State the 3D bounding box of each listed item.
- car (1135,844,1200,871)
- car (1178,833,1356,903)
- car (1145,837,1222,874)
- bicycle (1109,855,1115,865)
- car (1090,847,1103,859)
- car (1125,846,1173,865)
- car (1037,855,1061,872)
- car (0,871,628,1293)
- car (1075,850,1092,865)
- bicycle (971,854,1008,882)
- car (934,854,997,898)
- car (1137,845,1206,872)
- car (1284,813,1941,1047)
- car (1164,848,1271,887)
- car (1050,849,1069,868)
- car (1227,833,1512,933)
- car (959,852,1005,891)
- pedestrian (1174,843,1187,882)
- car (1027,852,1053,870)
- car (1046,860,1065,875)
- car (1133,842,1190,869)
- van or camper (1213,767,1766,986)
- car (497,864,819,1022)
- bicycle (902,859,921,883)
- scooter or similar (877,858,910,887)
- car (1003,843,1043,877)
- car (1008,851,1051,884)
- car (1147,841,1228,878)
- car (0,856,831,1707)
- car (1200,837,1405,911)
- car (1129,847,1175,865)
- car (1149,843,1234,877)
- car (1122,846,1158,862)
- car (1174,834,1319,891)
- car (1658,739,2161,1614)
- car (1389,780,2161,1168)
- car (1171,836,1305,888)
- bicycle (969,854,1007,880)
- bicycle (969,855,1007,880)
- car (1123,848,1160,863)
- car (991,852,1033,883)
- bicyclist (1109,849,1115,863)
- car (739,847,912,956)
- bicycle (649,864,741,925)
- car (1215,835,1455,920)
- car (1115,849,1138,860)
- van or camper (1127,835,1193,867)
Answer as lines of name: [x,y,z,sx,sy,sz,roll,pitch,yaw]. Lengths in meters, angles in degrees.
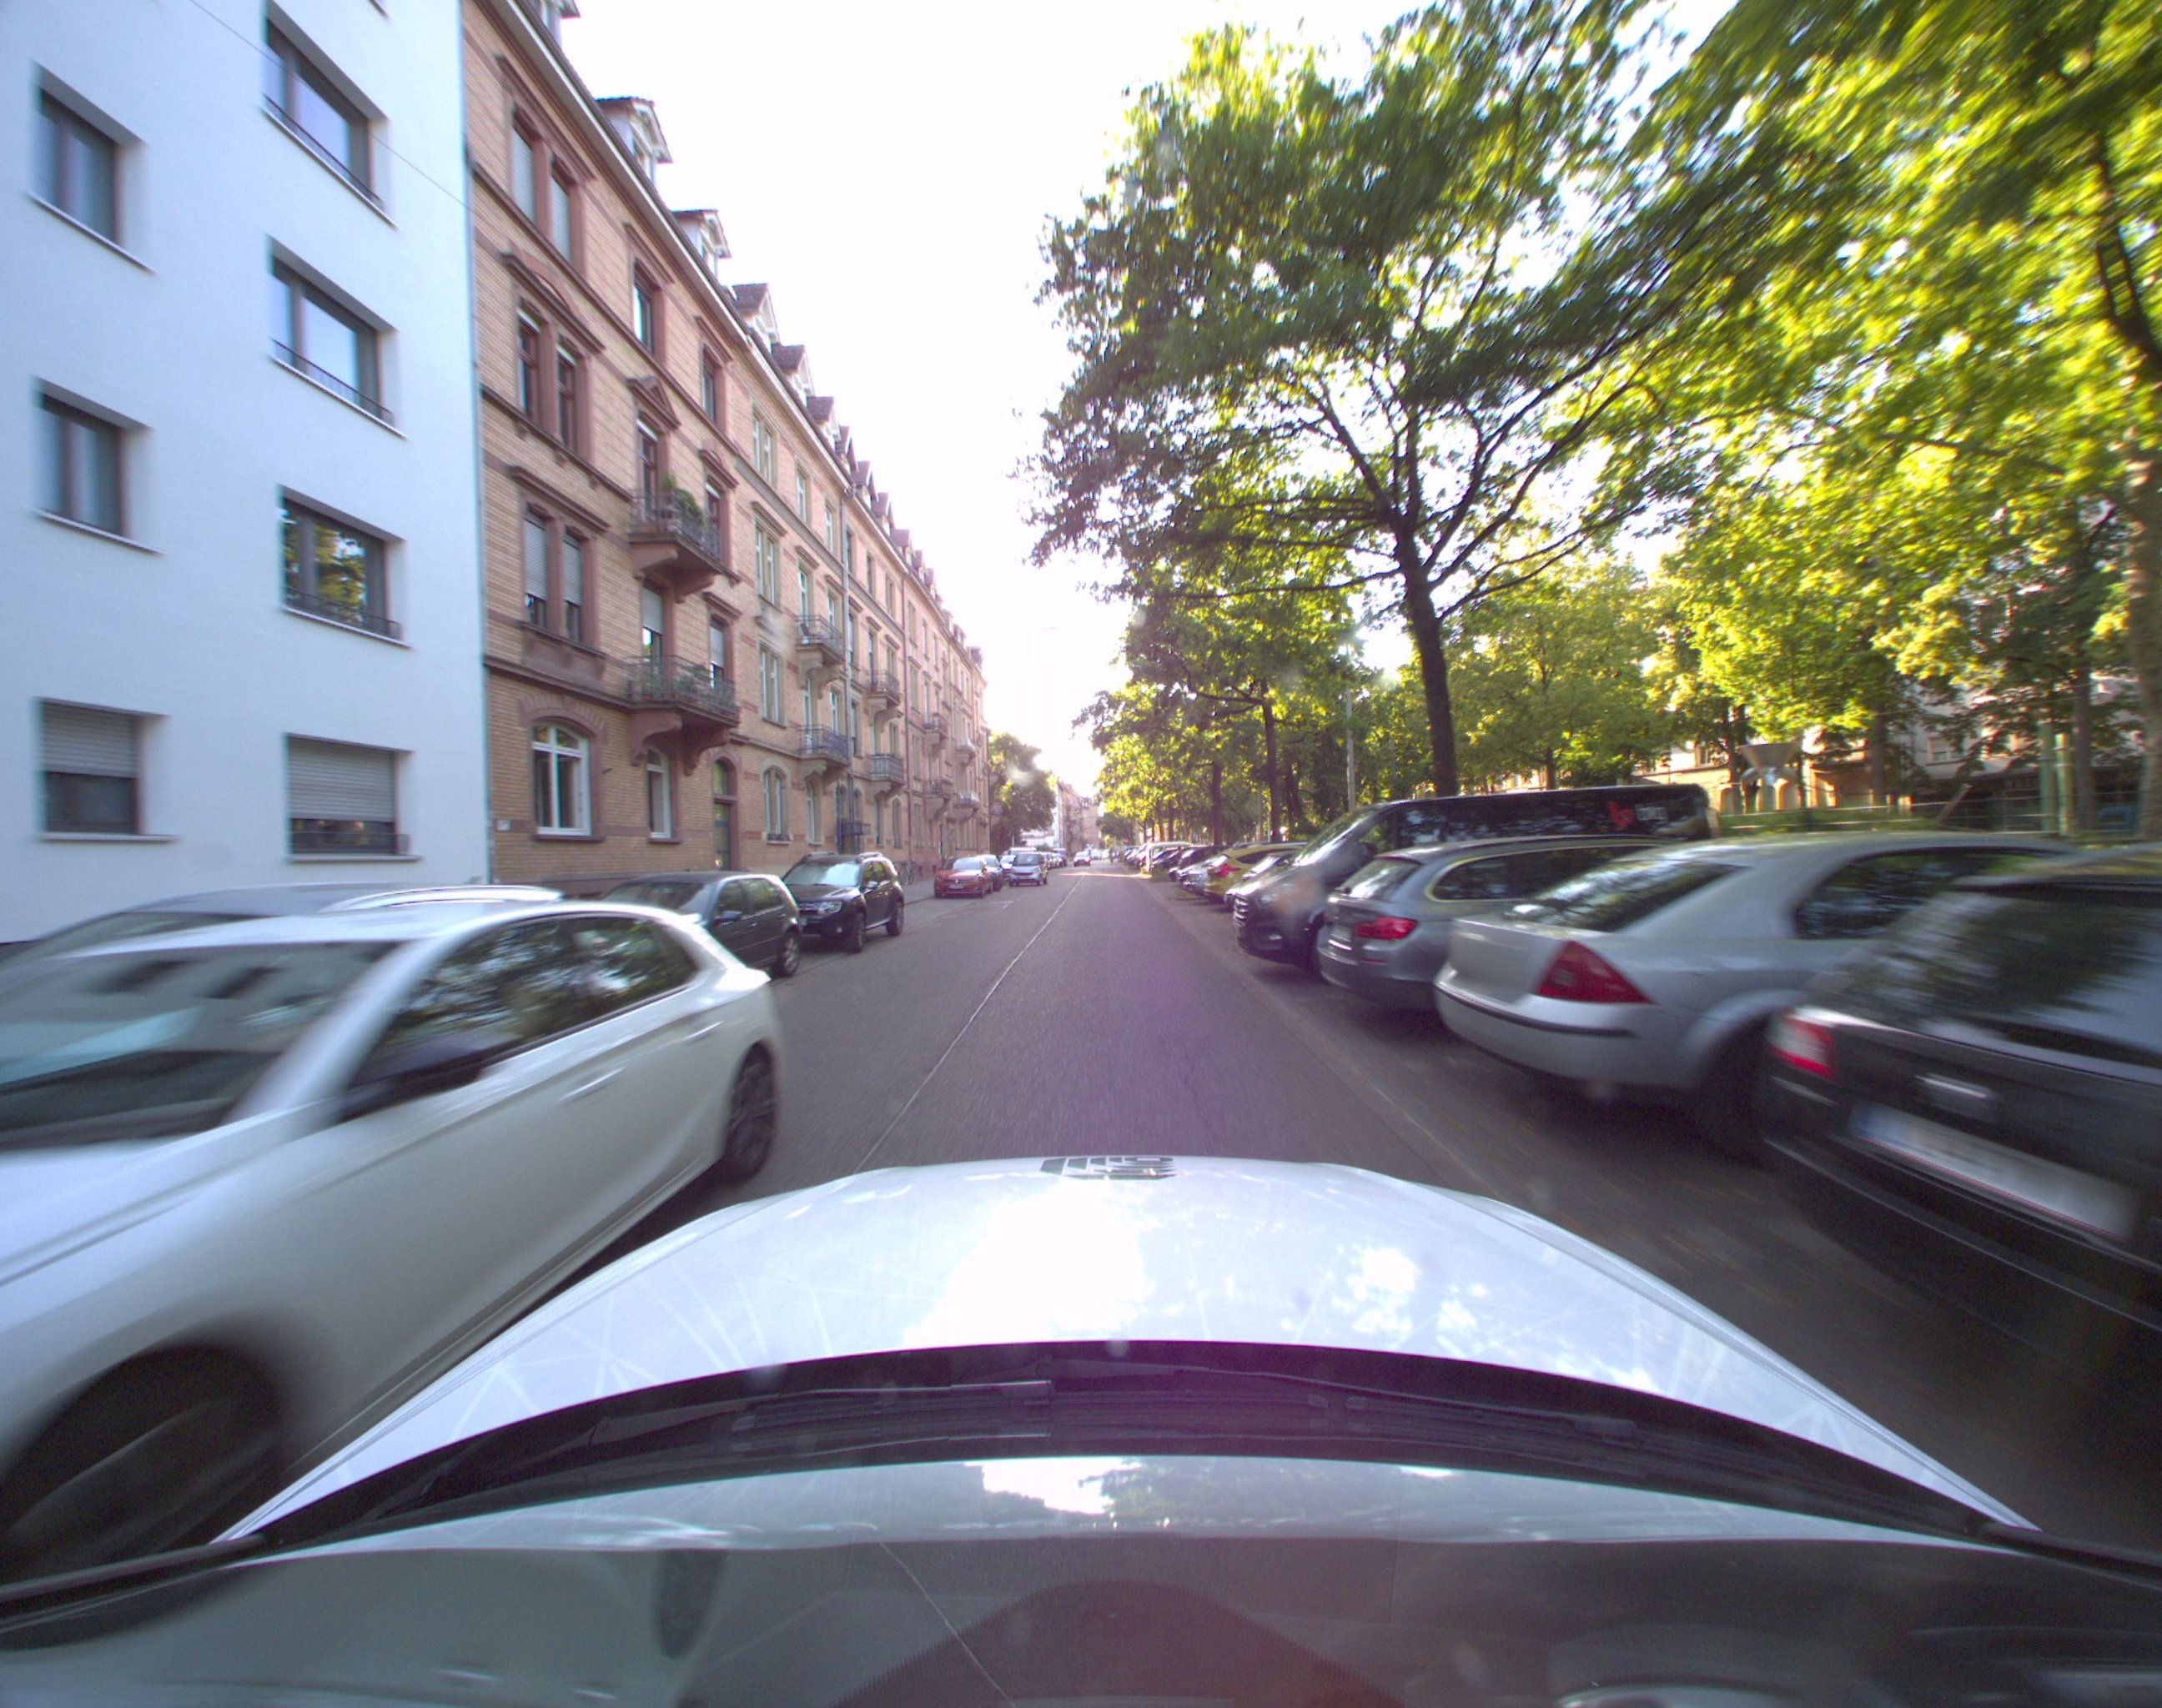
car: [5.759,0.228,54.574,4.203,1.453,1.866,-4,0,2]
car: [4.933,0.372,22.061,4.384,1.591,1.838,-3,-1,1]
car: [5.886,0.076,47.134,4.203,1.864,1.763,-4,0,2]
bicycle: [3.473,0.692,91.764,0.639,1.100,1.944,-1,-2,1]
car: [2.438,-0.126,126.221,1.987,1.838,4.000,-1,-2,0]
car: [6.384,0.149,76.823,4.377,1.699,1.858,-1,-2,-2]
car: [-2.967,0.858,76.503,1.748,1.466,4.273,-1,0,5]
car: [-4.808,0.899,4.838,1.661,1.471,4.286,1,0,2]
car: [0.266,0.370,86.407,1.662,1.464,4.000,-3,0,1]
bicycle: [-4.527,0.676,40.196,1.757,1.348,0.496,-1,-2,1]
car: [-4.176,0.746,29.934,1.748,1.464,3.999,0,0,0]
car: [5.729,0.273,51.678,4.199,1.453,1.651,-4,0,5]
car: [4.192,0.573,6.959,4.387,1.501,1.836,-3,-2,-2]
car: [5.191,0.500,31.325,3.830,1.279,1.691,-3,0,0]
car: [-2.379,0.516,90.693,1.950,2.018,4.269,-1,0,1]
car: [4.959,0.493,14.460,4.385,1.440,1.838,-3,-1,0]
car: [-4.135,0.694,34.646,1.744,1.546,4.145,0,0,-4]
pedestrian: [4.110,0.338,33.717,0.377,1.584,0.522,-2,2,21]
car: [-3.311,0.536,65.972,1.696,1.429,3.880,0,0,3]
car: [-2.643,1.370,85.158,1.750,1.466,4.269,-1,0,1]
car: [5.892,0.124,59.651,3.971,1.691,1.860,-4,0,2]
van or camper: [4.409,0.244,9.570,5.390,2.027,2.032,-3,1,3]
car: [-4.770,0.892,9.924,1.608,1.451,4.005,0,0,4]
bicycle: [-8.193,0.839,39.433,0.424,1.130,1.771,-1,-2,5]
scooter or similar: [-8.346,0.828,36.353,0.780,1.222,2.705,-1,-2,2]
car: [-3.502,0.411,49.775,1.987,1.921,5.039,-1,-1,1]
car: [-2.414,0.618,38.634,1.496,1.435,2.758,-3,0,6]
car: [5.093,0.278,39.210,3.660,1.501,1.763,-4,0,2]
car: [-2.415,0.839,2.723,1.662,1.430,4.003,-5,1,2]
car: [5.115,0.465,19.298,4.380,1.440,1.839,-3,-1,3]
car: [6.417,0.197,74.204,3.976,1.548,1.858,-1,-2,-2]
car: [5.606,0.304,41.638,4.070,1.442,1.761,-4,0,-1]
car: [6.813,-0.017,94.496,3.976,1.794,1.858,-1,-2,-2]
car: [5.357,0.272,26.831,4.382,1.591,1.839,-3,-1,2]
car: [4.163,0.485,1.819,4.376,1.577,1.667,-3,-2,6]
car: [4.182,0.517,4.363,4.380,1.577,1.666,-3,-2,3]
car: [5.596,0.290,29.429,4.390,1.591,1.835,-3,-1,-4]
bicycle: [-4.486,0.649,39.160,1.757,1.215,0.464,-1,-2,1]
bicycle: [-4.522,0.662,39.672,1.757,1.215,0.428,-1,-2,1]
car: [6.826,0.177,91.820,3.976,1.563,1.858,-1,-2,-2]
car: [-3.711,0.701,44.248,1.667,1.454,4.212,-3,0,2]
bicyclist: [3.452,0.205,91.743,0.625,1.573,0.802,-1,-2,0]
car: [-4.511,0.745,15.080,1.745,1.706,4.202,-1,0,1]
bicycle: [-8.613,0.868,18.326,0.734,1.206,2.516,-1,1,3]
car: [5.105,0.475,16.858,4.380,1.440,1.839,-3,-1,3]
car: [8.538,0.082,151.983,3.959,2.014,2.007,-1,-2,13]
van or camper: [6.169,-0.196,64.210,4.966,2.377,2.184,-1,-2,-1]
